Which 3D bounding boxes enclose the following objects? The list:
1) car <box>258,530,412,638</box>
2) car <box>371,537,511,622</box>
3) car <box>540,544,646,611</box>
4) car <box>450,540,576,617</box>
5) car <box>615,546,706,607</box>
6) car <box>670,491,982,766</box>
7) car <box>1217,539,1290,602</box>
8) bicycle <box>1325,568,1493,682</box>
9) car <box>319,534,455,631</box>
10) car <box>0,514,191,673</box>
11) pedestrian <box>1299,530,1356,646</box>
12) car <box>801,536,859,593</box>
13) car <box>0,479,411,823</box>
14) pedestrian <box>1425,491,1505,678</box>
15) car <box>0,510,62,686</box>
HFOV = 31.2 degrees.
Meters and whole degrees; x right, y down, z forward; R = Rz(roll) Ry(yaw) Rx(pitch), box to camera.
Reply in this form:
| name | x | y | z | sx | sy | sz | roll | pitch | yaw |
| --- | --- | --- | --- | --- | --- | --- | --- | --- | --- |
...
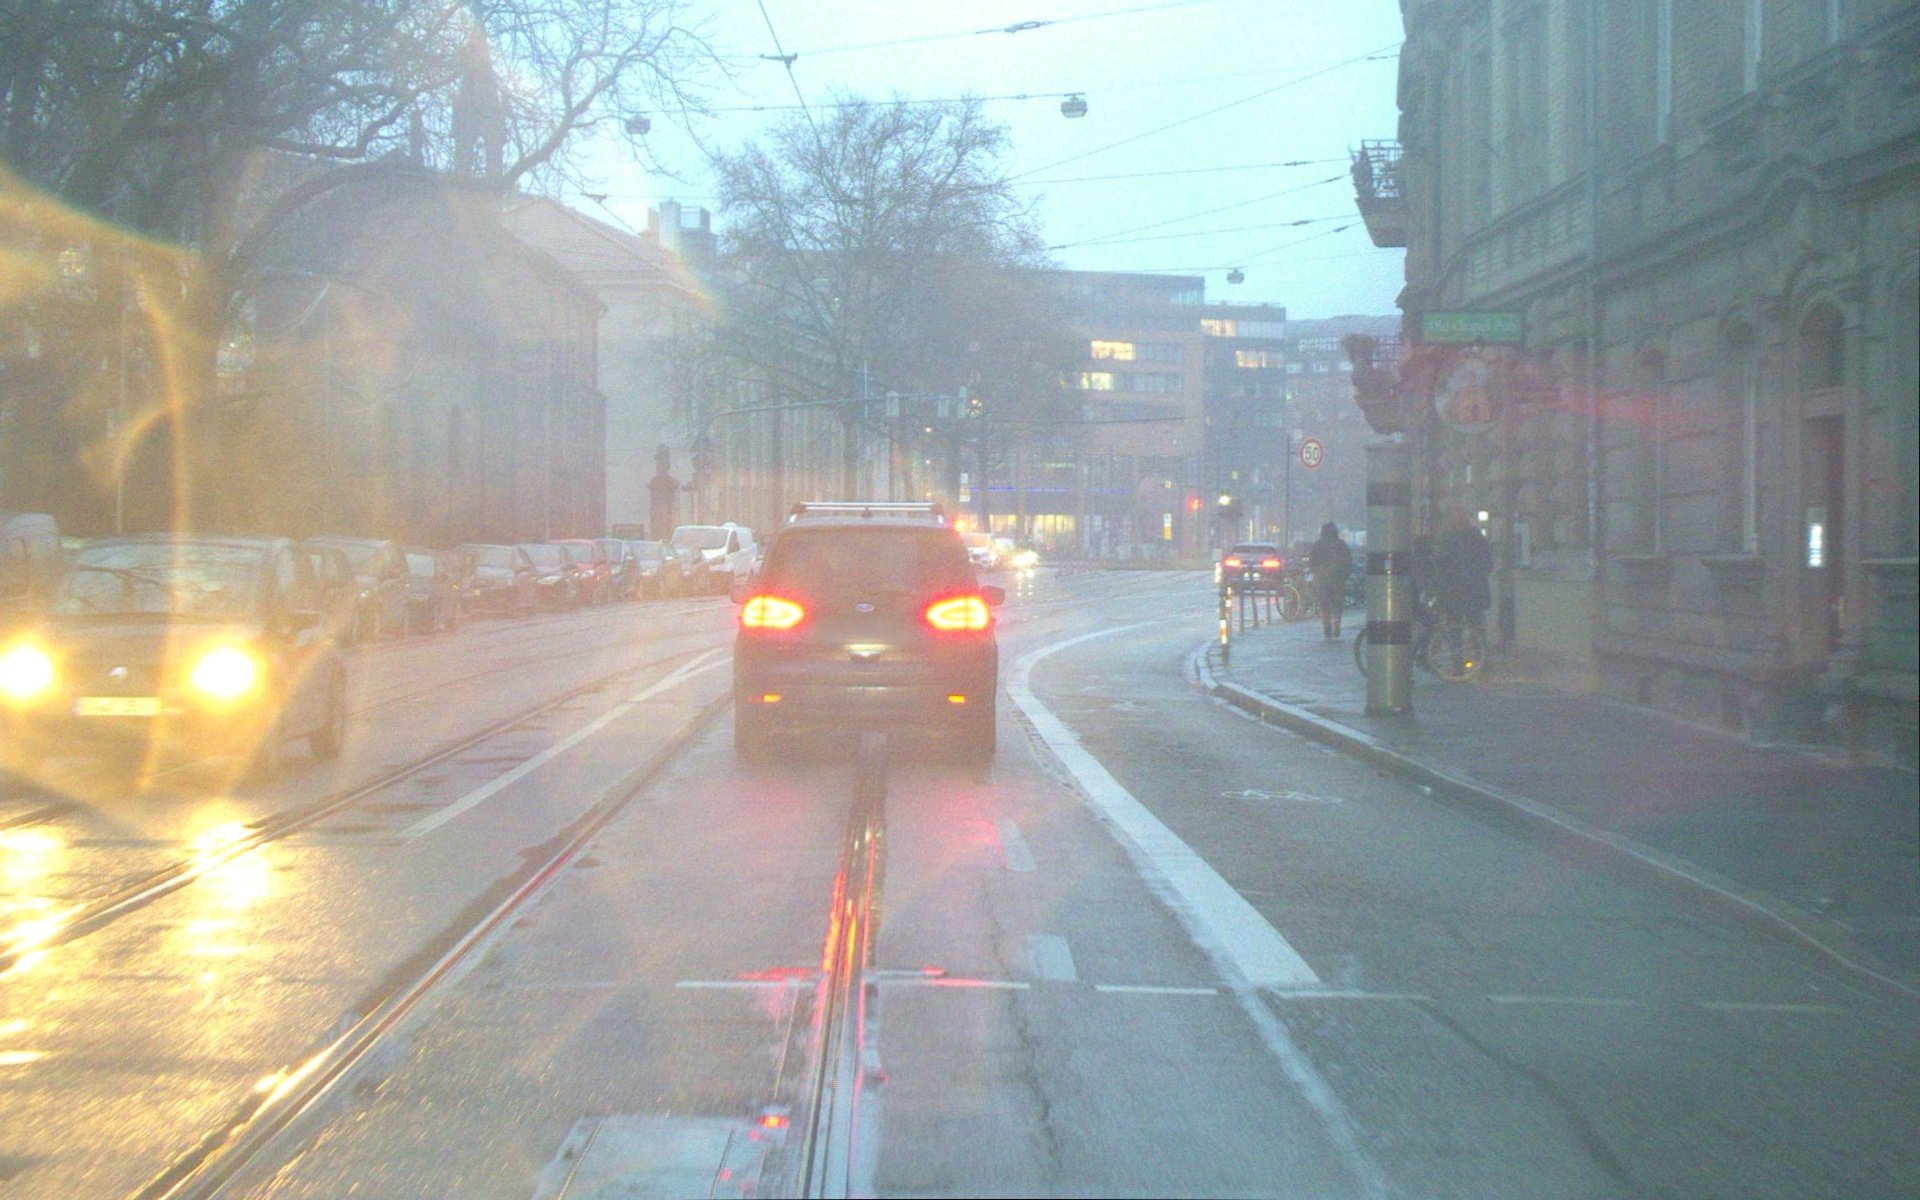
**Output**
| name | x | y | z | sx | sy | sz | roll | pitch | yaw |
| --- | --- | --- | --- | --- | --- | --- | --- | --- | --- |
| car | -9.840 | -0.264 | 54.431 | 1.983 | 1.610 | 4.430 | 1 | 1 | -5 |
| car | -10.361 | -0.417 | 68.926 | 1.984 | 1.610 | 4.429 | 1 | 1 | 2 |
| car | -9.174 | -0.575 | 86.299 | 1.984 | 1.610 | 4.429 | 1 | 1 | 3 |
| car | -9.731 | -0.471 | 75.163 | 1.984 | 1.610 | 4.429 | 1 | 1 | 2 |
| car | -8.228 | -0.646 | 94.733 | 1.984 | 1.610 | 4.429 | 1 | 1 | 2 |
| car | -0.891 | 0.159 | 25.101 | 1.993 | 1.835 | 4.000 | 0 | 1 | 2 |
| car | 8.881 | -0.907 | 104.312 | 1.993 | 1.835 | 4.000 | 0 | 1 | 2 |
| bicycle | 4.692 | 0.247 | 36.097 | 0.792 | 1.140 | 2.244 | 1 | 1 | -20 |
| car | -9.974 | -0.323 | 60.083 | 1.983 | 1.610 | 4.430 | 1 | 1 | -5 |
| car | -9.679 | -0.091 | 37.373 | 1.983 | 1.610 | 4.430 | 1 | 1 | -5 |
| pedestrian | 5.655 | -0.192 | 52.959 | 0.771 | 1.769 | 0.685 | 1 | 0 | -1 |
| car | -4.664 | -1.278 | 124.037 | 1.993 | 2.007 | 4.000 | 1 | 1 | -1 |
| car | -4.920 | 0.278 | 22.269 | 1.993 | 2.007 | 4.000 | 1 | 1 | 1 |
| pedestrian | 5.331 | -0.161 | 36.305 | 0.715 | 1.946 | 0.657 | 1 | 0 | -1 |
| car | -9.834 | -0.042 | 32.265 | 1.983 | 1.610 | 4.430 | 1 | 1 | -5 |
